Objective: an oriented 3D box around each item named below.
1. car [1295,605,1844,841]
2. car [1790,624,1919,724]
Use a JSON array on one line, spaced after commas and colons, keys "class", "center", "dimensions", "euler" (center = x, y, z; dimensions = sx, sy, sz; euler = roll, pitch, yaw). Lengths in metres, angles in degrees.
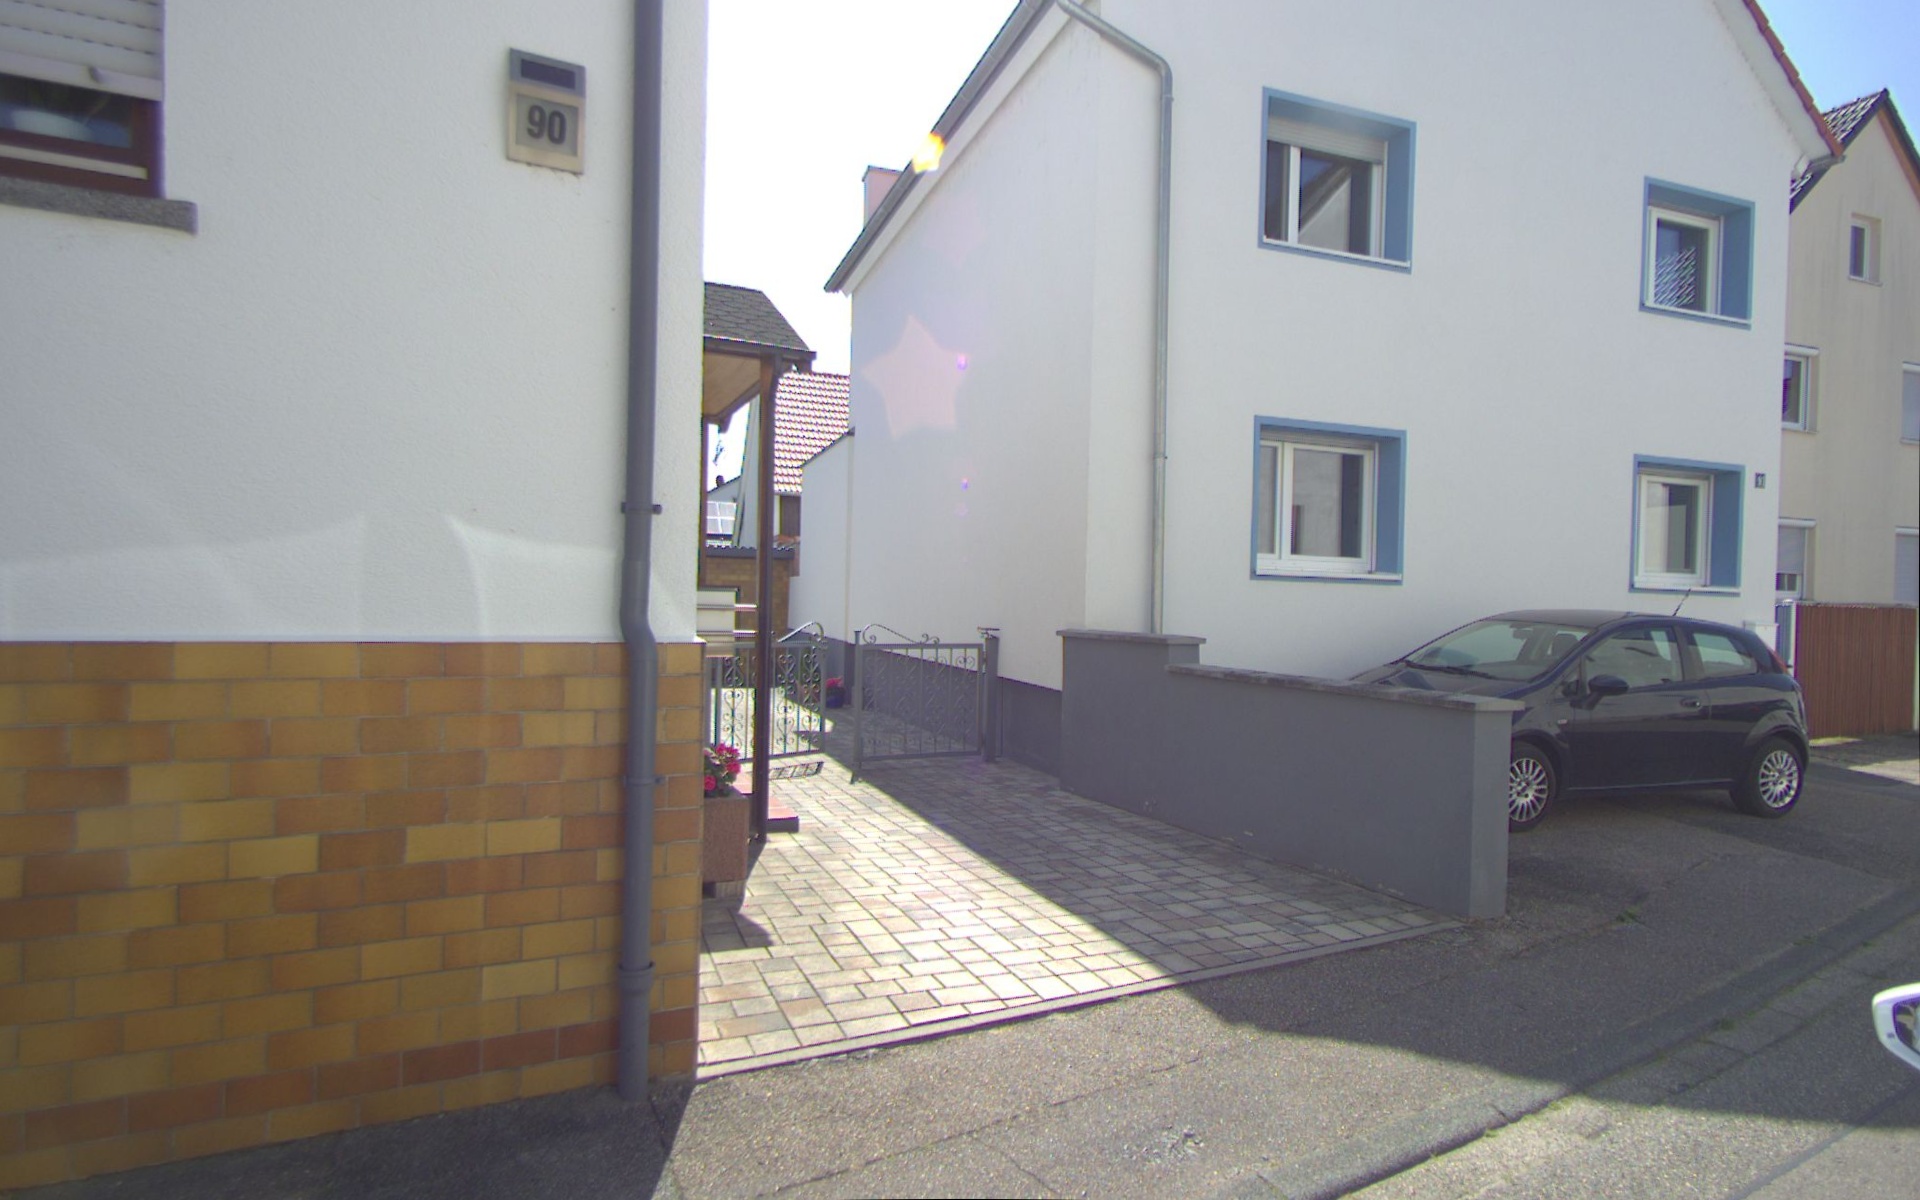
[{"class": "car", "center": [4.694, 0.824, 7.809], "dimensions": [3.728, 1.474, 1.636], "euler": [1, 1, -19]}, {"class": "car", "center": [15.555, 1.154, 15.834], "dimensions": [4.400, 1.367, 1.768], "euler": [2, 0, -19]}]
